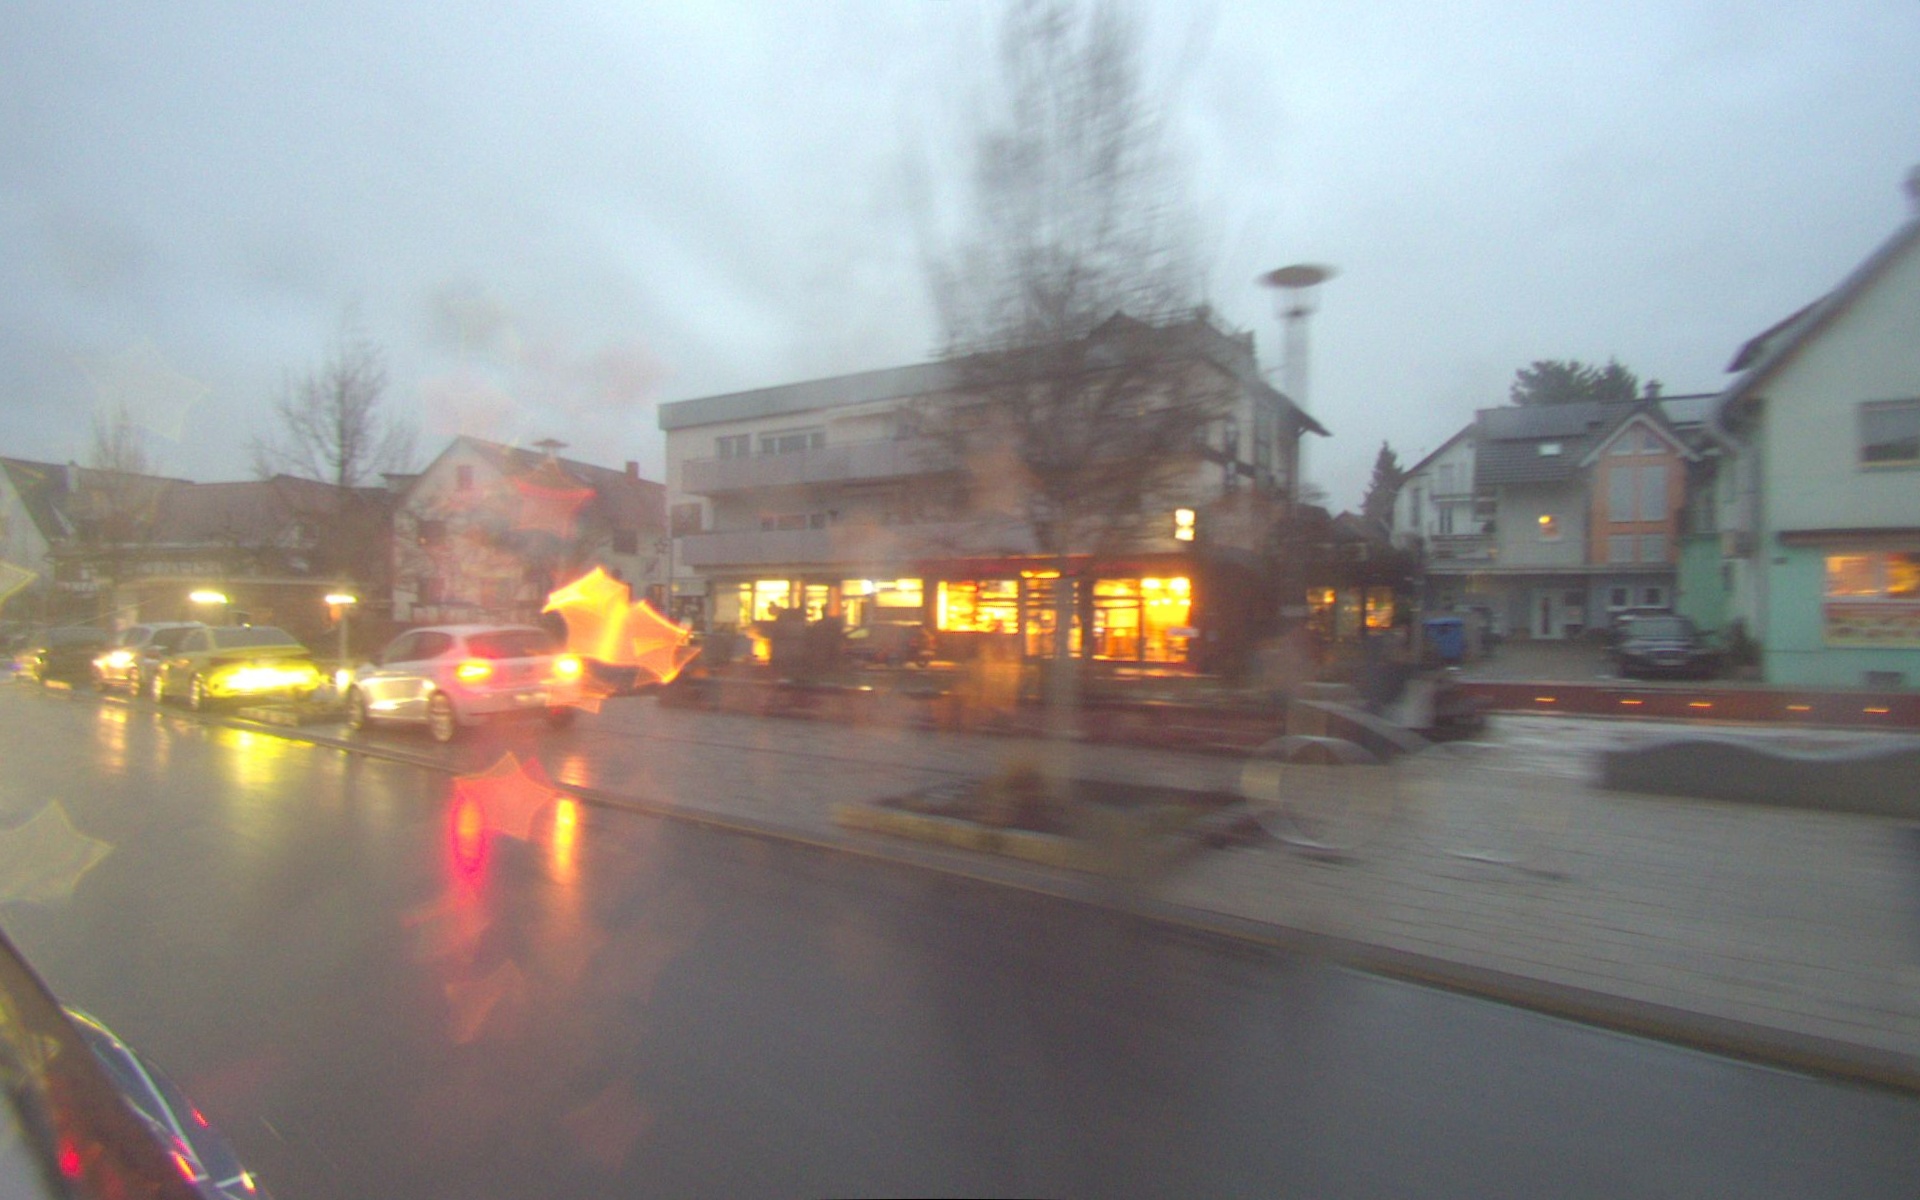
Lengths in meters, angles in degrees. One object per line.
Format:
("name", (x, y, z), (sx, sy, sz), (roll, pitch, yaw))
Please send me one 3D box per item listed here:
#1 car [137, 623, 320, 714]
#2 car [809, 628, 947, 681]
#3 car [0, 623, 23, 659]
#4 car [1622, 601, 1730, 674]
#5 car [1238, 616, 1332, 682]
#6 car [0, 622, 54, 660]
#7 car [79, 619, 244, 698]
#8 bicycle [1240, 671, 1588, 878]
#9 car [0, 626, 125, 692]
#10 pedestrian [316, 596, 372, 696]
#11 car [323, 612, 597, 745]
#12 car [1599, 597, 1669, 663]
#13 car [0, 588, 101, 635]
("car", (-13.537, 1.183, 18.642), (4.372, 1.442, 1.677), (-2, -1, 39))
("car", (-2.623, 1.689, 32.124), (3.986, 1.576, 1.978), (-1, -2, 32))
("car", (-44.343, 1.877, 44.937), (3.938, 1.559, 2.003), (-1, 0, -41))
("car", (17.318, 0.875, 24.643), (1.979, 1.615, 3.954), (-1, -2, 33))
("car", (9.940, 1.462, 30.750), (1.992, 1.858, 3.960), (-1, -2, 29))
("car", (-41.820, 1.781, 43.853), (3.787, 1.557, 2.002), (-1, 0, -44))
("car", (-17.565, 1.218, 22.225), (3.663, 1.546, 1.859), (-1, 0, 35))
("bicycle", (2.533, 0.960, 5.809), (1.734, 1.070, 0.322), (-3, -7, 25))
("car", (-23.689, 1.491, 26.659), (4.134, 1.546, 1.817), (-1, 0, 39))
("pedestrian", (-12.887, 0.939, 21.167), (0.889, 2.029, 0.791), (0, -2, -42))
("car", (-6.867, 0.946, 13.715), (4.178, 1.500, 1.767), (-1, 0, 39))
("car", (20.409, 0.865, 30.750), (1.563, 1.871, 3.277), (-1, -1, 31))
("car", (-36.005, 0.442, 39.351), (3.936, 1.776, 1.436), (-1, -1, -39))
